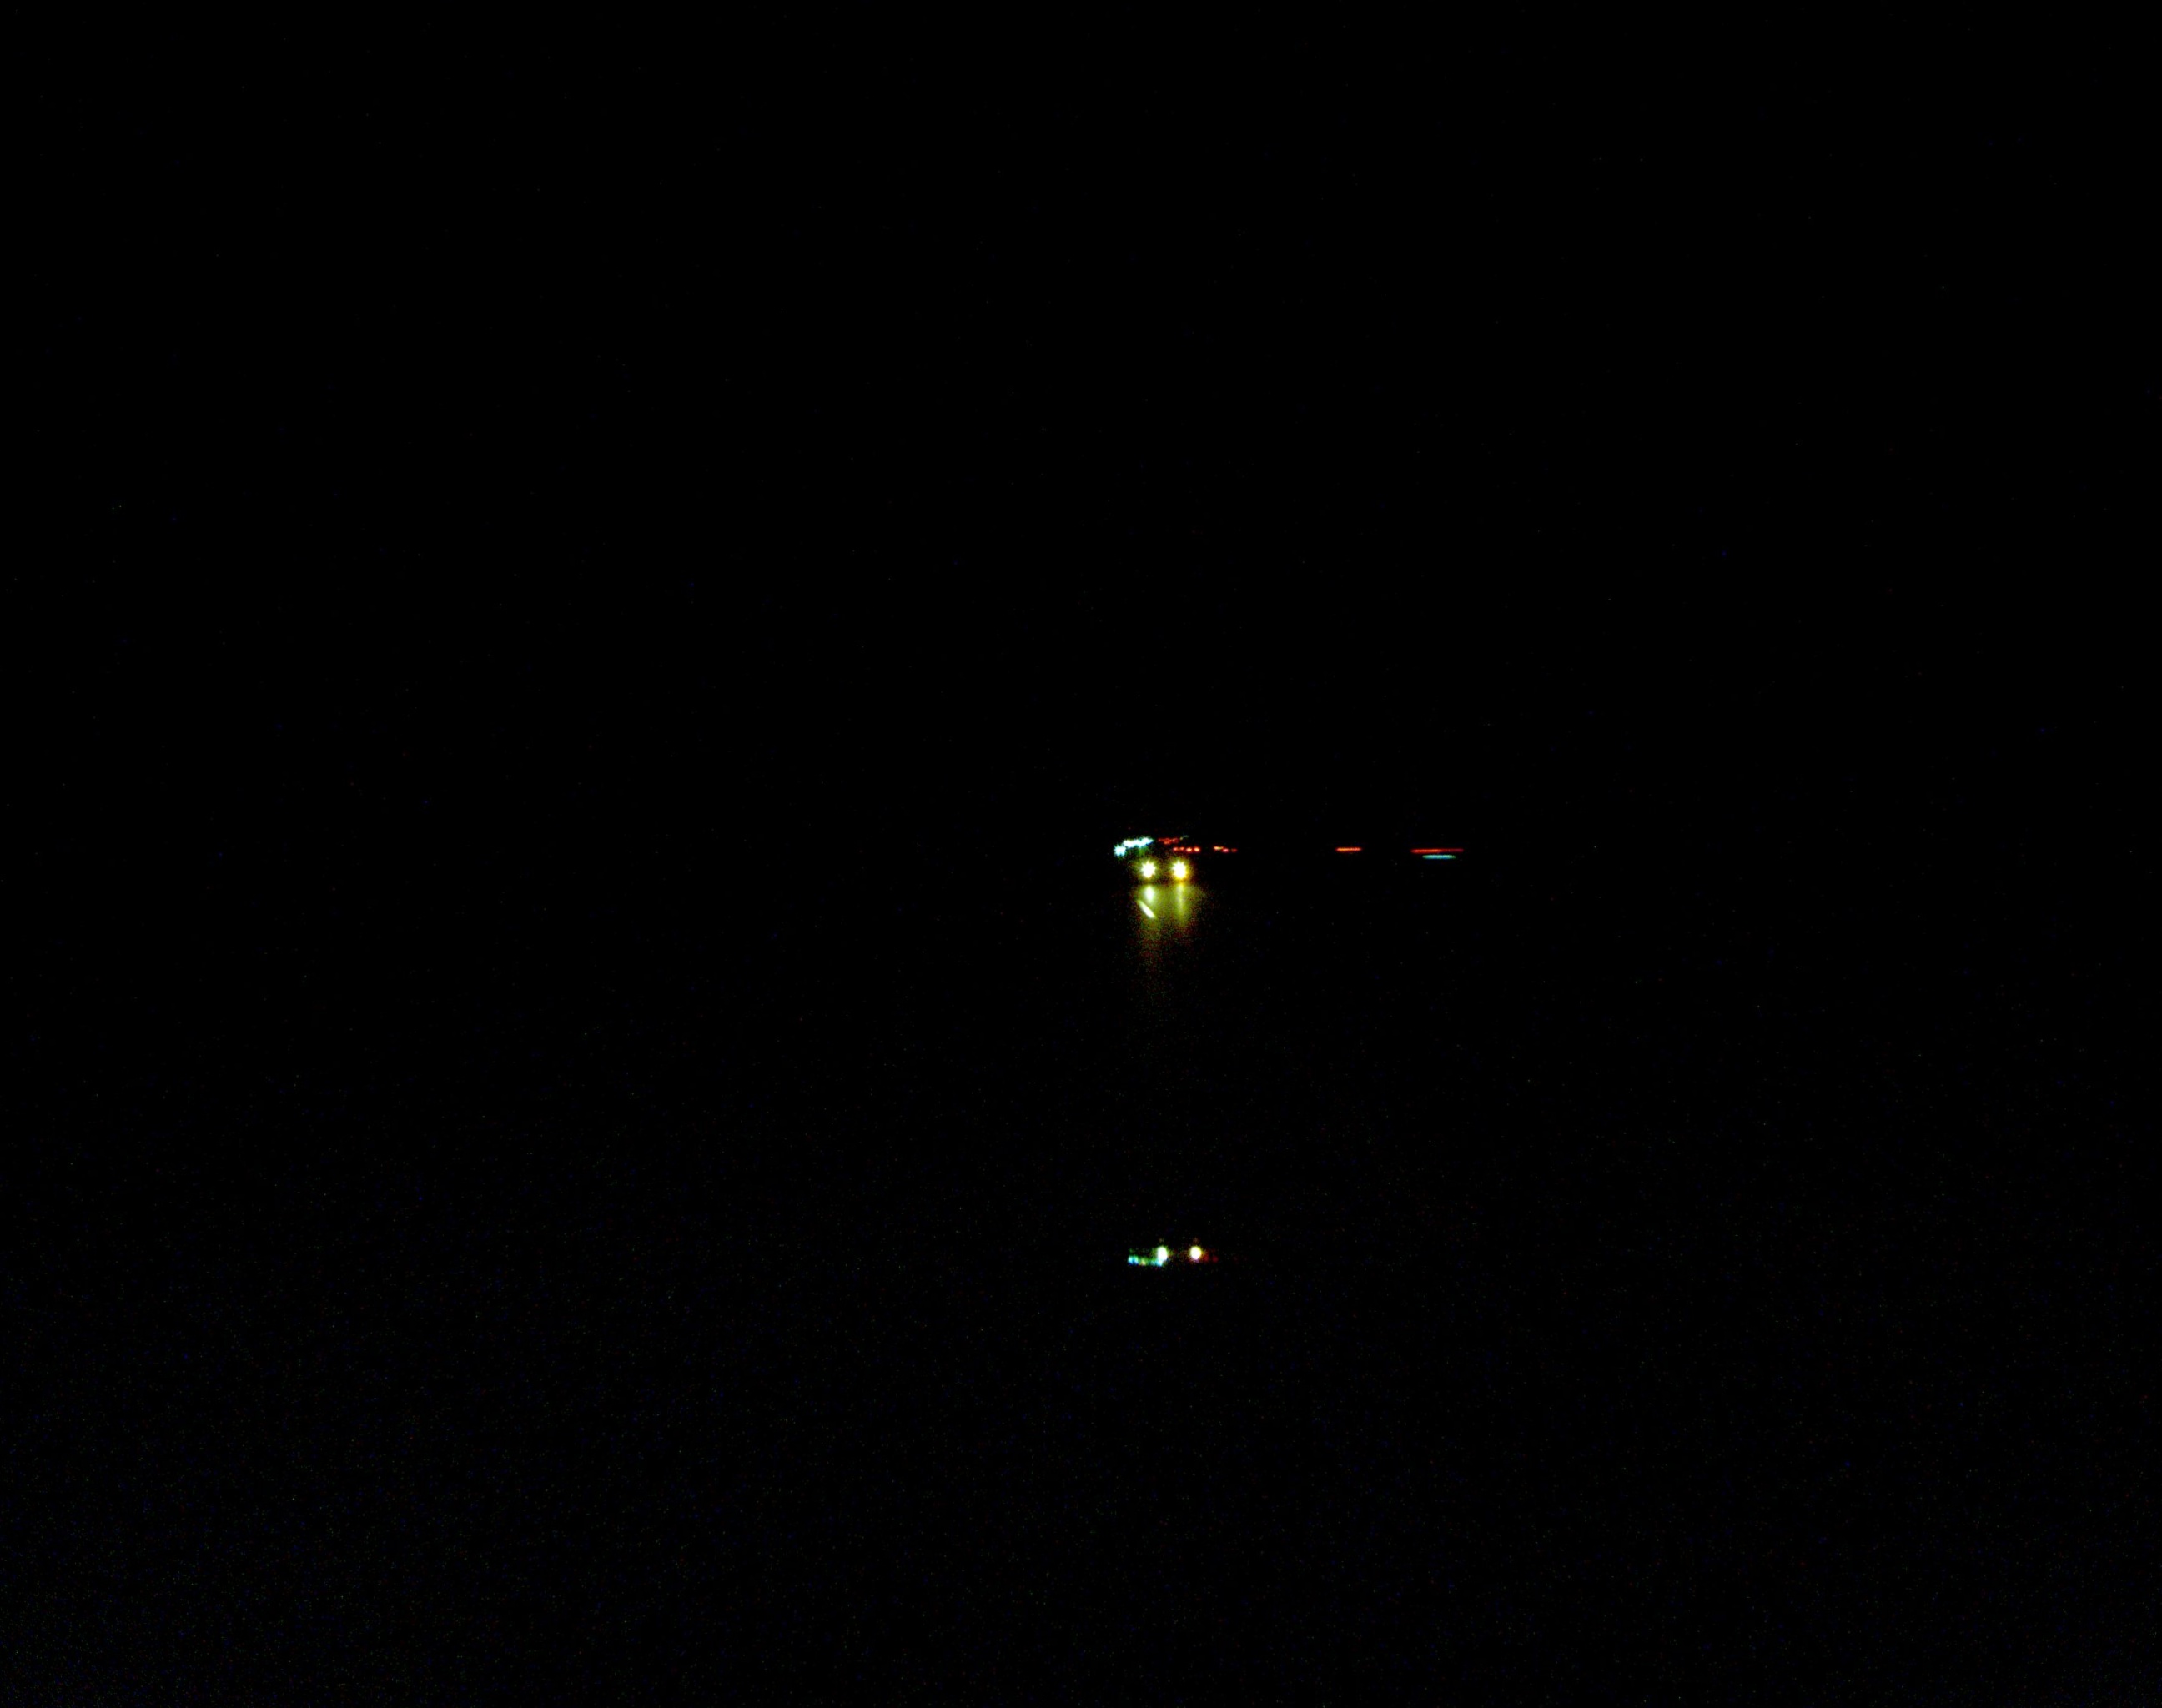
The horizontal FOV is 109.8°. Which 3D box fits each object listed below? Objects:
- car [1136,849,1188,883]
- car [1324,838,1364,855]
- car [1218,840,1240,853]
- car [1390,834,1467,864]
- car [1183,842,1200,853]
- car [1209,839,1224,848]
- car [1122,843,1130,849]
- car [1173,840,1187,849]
[{"bbox_3d":[4.049,0.552,38.787,1.998,1.509,5.650,-3,0,0],"label":"car"},{"bbox_3d":[24.847,-0.703,72.058,2.124,1.546,5.109,-3,0,2],"label":"car"},{"bbox_3d":[21.845,-1.118,112.337,2.124,1.687,5.108,-3,0,0],"label":"car"},{"bbox_3d":[20.057,-0.292,44.172,2.124,1.546,5.108,-3,0,0],"label":"car"},{"bbox_3d":[18.389,-1.135,126.712,2.124,1.711,5.626,-3,0,0],"label":"car"},{"bbox_3d":[27.965,-2.144,157.478,2.124,1.711,5.191,-3,0,0],"label":"car"},{"bbox_3d":[13.199,-2.219,222.945,1.998,1.653,4.000,-2,1,3],"label":"car"},{"bbox_3d":[20.481,-1.921,158.014,2.124,1.711,5.626,-3,0,0],"label":"car"}]
